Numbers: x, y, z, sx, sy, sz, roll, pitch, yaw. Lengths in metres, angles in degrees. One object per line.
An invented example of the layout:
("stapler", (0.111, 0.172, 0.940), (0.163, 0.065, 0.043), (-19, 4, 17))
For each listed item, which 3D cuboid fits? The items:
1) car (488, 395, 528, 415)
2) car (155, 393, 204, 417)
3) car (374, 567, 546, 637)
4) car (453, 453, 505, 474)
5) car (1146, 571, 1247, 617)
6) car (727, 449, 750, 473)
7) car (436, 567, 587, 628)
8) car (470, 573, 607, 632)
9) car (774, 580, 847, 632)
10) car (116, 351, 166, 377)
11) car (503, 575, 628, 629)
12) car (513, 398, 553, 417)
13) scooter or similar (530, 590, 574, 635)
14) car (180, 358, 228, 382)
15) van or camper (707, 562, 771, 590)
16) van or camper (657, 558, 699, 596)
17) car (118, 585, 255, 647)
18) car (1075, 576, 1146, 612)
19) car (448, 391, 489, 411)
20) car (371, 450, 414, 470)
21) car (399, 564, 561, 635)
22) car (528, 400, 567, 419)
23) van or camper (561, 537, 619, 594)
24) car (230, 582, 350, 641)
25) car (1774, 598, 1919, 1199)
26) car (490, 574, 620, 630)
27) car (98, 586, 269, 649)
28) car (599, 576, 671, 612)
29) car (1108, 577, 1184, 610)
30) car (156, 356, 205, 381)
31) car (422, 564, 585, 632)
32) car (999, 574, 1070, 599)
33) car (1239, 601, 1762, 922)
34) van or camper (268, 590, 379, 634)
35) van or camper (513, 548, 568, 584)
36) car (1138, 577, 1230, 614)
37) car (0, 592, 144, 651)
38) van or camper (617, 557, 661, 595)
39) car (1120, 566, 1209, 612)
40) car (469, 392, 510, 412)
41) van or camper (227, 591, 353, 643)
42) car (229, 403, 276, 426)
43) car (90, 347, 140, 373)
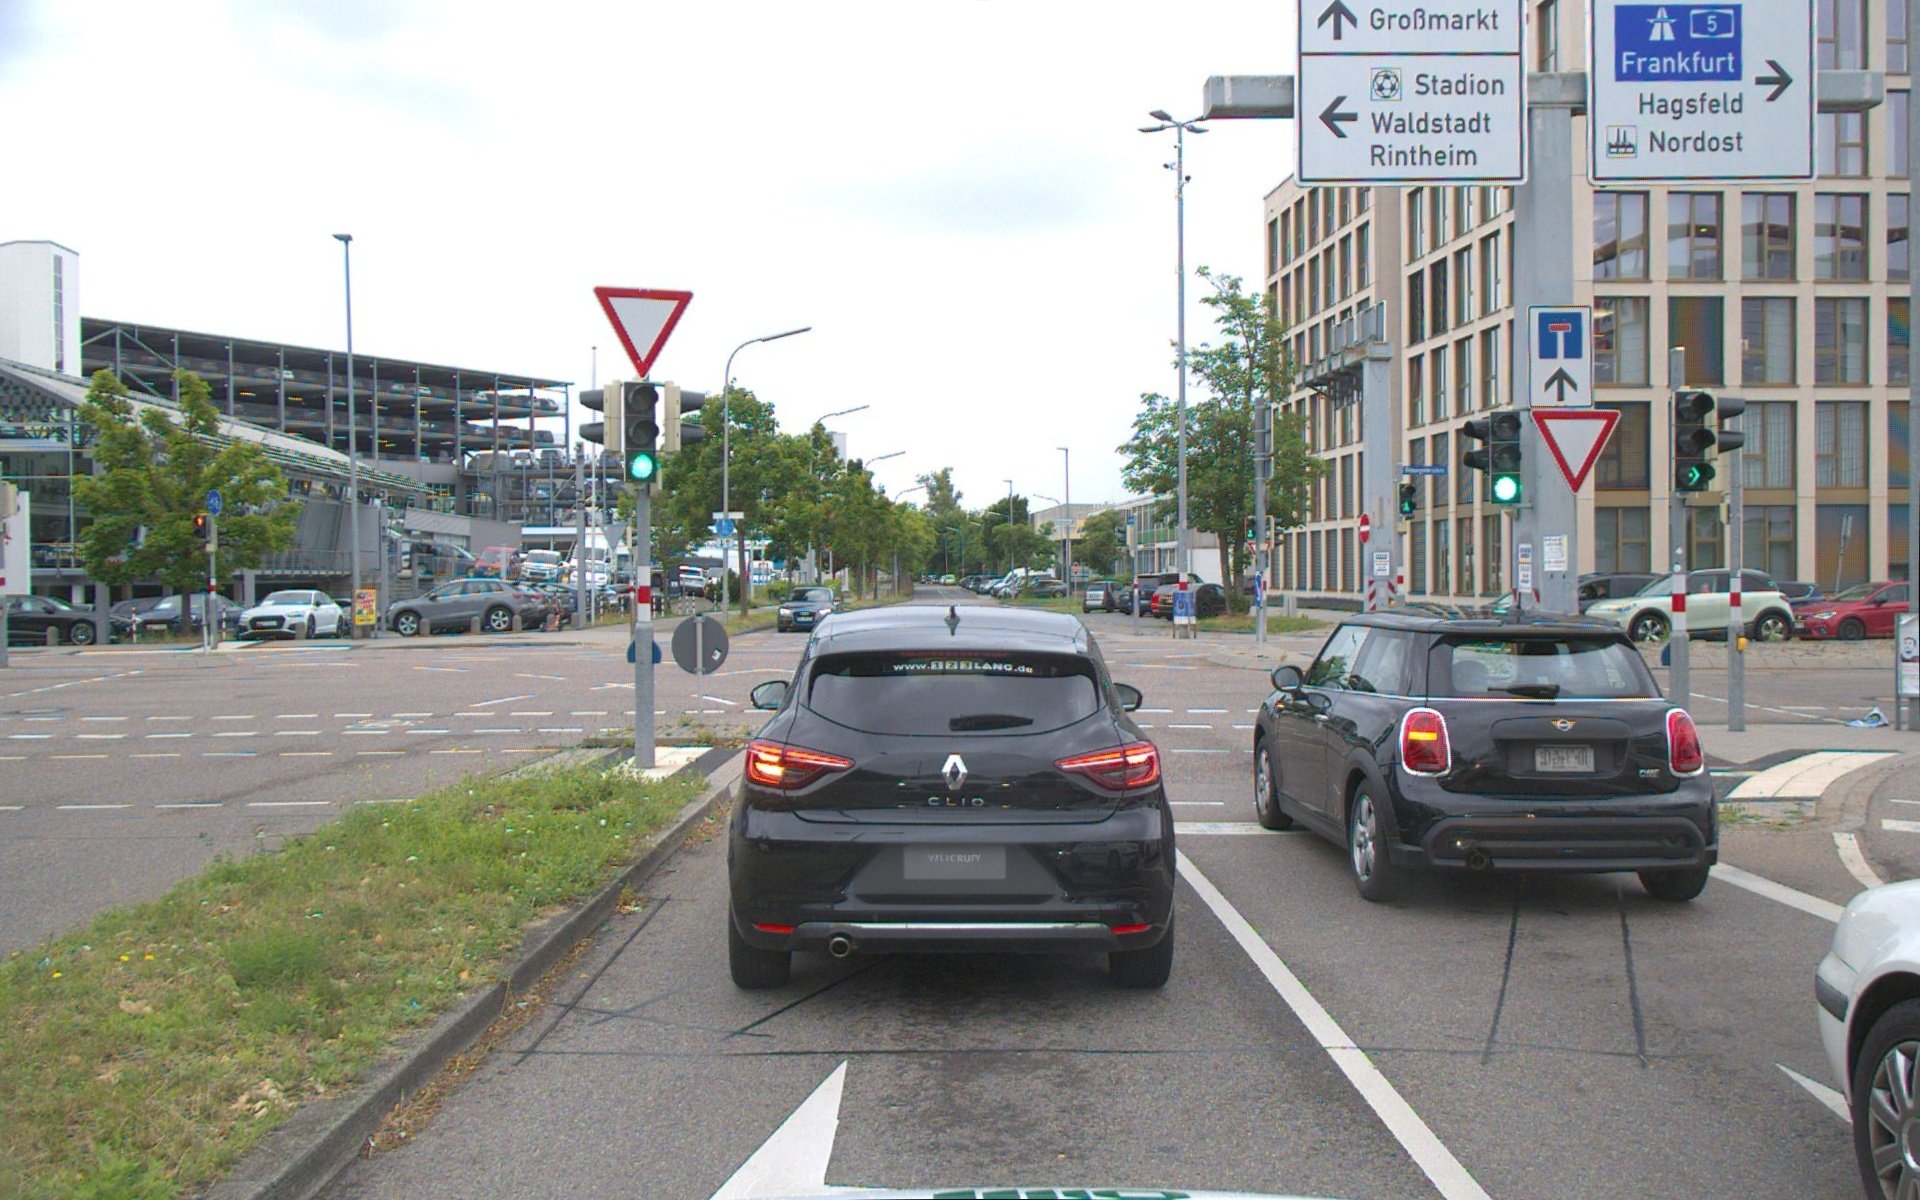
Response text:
("car", (-48.081, -20.734, 175.827), (3.914, 1.696, 1.996), (1, 1, 31))
("car", (-67.168, -16.744, 142.347), (3.914, 1.696, 1.996), (1, 1, 31))
("car", (-15.274, 0.049, 50.721), (4.680, 1.895, 1.998), (-2, 0, -6))
("car", (-50.639, -14.365, 174.124), (5.212, 1.979, 2.208), (1, 1, 28))
("car", (9.568, -0.220, 66.776), (4.096, 1.799, 1.861), (0, 0, -41))
("car", (-21.181, -13.331, 158.543), (1.955, 1.915, 3.996), (-1, 0, -5))
("car", (-15.928, -0.080, 58.917), (4.853, 1.909, 2.051), (-2, 0, -7))
("car", (-16.313, 0.090, 64.220), (4.798, 2.049, 1.998), (-2, 0, -6))
("car", (-4.802, 0.150, 53.674), (1.938, 1.578, 4.614), (0, 1, 0))
("car", (-69.292, -19.957, 139.933), (3.914, 1.696, 1.996), (1, 1, 31))
("car", (-16.596, 0.082, 69.766), (4.798, 2.049, 1.998), (-2, 0, -6))
("car", (-46.289, -20.859, 179.209), (3.914, 1.696, 1.996), (1, 1, 31))
("scooter or similar", (-11.857, 0.348, 48.104), (0.545, 1.240, 1.561), (2, 1, 13))
("car", (-66.139, -20.099, 144.640), (3.914, 1.696, 1.996), (1, 1, 31))
("van or camper", (-20.008, -2.196, 149.697), (5.486, 2.413, 1.999), (1, 0, -2))
("van or camper", (-16.130, -1.287, 94.607), (1.954, 2.049, 3.996), (1, 0, -4))
("car", (-21.341, 0.481, 45.843), (2.023, 1.512, 4.510), (-2, -2, -6))
("car", (7.670, -0.279, 84.051), (3.405, 1.762, 1.739), (1, -1, -43))
("car", (-50.914, -20.642, 171.469), (3.914, 1.696, 1.996), (1, 1, 31))
("car", (-55.726, -13.725, 162.370), (3.914, 1.696, 1.996), (1, 1, 31))
("car", (-15.413, -0.022, 53.288), (4.610, 2.049, 1.998), (-2, 0, -5))
("car", (-45.221, -20.881, 181.169), (3.914, 1.696, 1.996), (1, 1, 31))
("van or camper", (-21.071, -1.929, 94.352), (2.486, 3.079, 4.839), (1, 0, -4))
("car", (-18.590, 0.351, 46.075), (1.832, 1.512, 4.226), (-1, -1, -4))
("car", (3.085, 0.757, 2.391), (1.795, 1.504, 4.004), (1, 0, -1))
("car", (-16.353, 0.071, 66.939), (4.798, 2.049, 1.998), (-2, 0, -6))
("car", (-25.795, 0.568, 55.057), (4.706, 1.973, 1.999), (-1, 1, -4))
("car", (-19.361, -0.328, 98.601), (3.908, 2.049, 1.999), (1, 0, -4))
("car", (8.781, -0.301, 77.756), (1.667, 1.537, 3.794), (-1, 0, 42))
("car", (-67.149, -19.909, 142.444), (3.914, 1.696, 1.996), (1, 1, 31))
("car", (-15.477, -0.072, 56.295), (4.925, 2.049, 2.263), (-2, 0, -5))
("car", (5.558, -1.028, 123.451), (5.070, 1.750, 2.142), (1, 0, -3))
("car", (2.781, 0.750, 9.381), (1.749, 1.440, 3.643), (1, 0, 0))
("van or camper", (-26.385, 0.497, 68.667), (3.909, 1.741, 1.845), (1, 0, -5))
("van or camper", (-21.024, -1.676, 82.992), (1.954, 1.680, 3.996), (1, 0, -4))
("car", (9.671, -0.190, 71.165), (1.857, 1.578, 4.105), (-1, 0, 44))
("car", (-25.318, 0.609, 45.594), (4.646, 1.512, 1.891), (-1, -2, -4))
("van or camper", (-18.283, -1.325, 94.383), (1.954, 2.049, 3.996), (1, 0, -4))
("car", (9.214, -0.475, 74.360), (1.963, 2.000, 4.221), (-1, 0, 41))
("car", (-49.436, -20.771, 173.698), (3.914, 1.696, 1.996), (1, 1, 31))
("van or camper", (-24.690, 0.620, 61.051), (3.909, 1.847, 1.845), (1, 0, -5))
("car", (-63.547, -16.643, 148.579), (3.914, 1.696, 1.996), (1, 1, 31))
("car", (-70.369, -19.987, 137.741), (3.914, 1.696, 1.996), (1, 1, 31))
